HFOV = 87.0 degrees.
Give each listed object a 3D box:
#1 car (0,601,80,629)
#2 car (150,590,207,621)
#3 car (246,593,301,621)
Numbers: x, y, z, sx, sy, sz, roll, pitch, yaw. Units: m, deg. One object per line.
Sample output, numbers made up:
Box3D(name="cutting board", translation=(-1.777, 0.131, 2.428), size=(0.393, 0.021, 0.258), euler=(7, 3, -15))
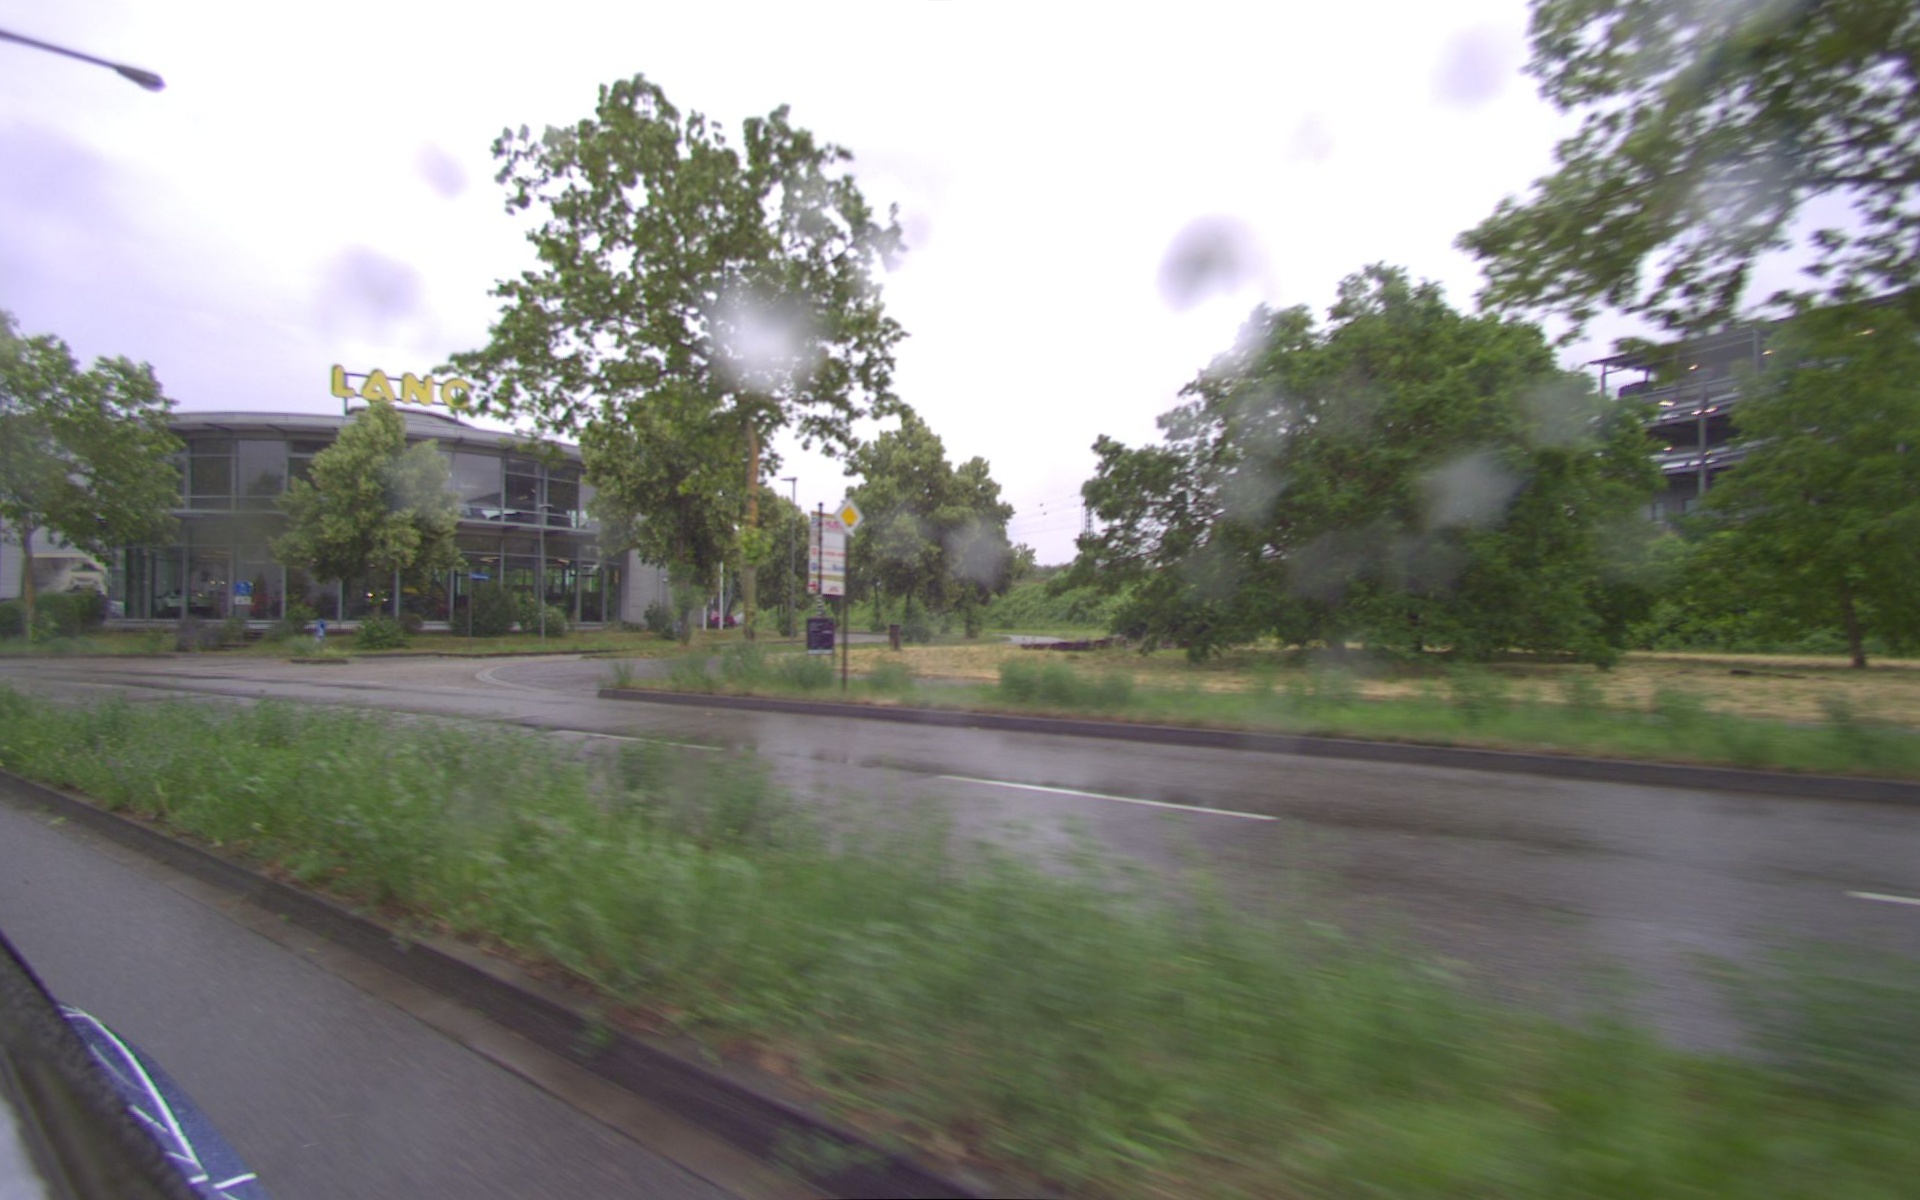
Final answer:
Box3D(name="car", translation=(-51.777, 0.800, 55.973), size=(1.914, 1.485, 4.387), euler=(0, 0, 33))
Box3D(name="car", translation=(-39.179, 0.290, 50.684), size=(4.114, 1.487, 1.758), euler=(-1, -1, 45))
Box3D(name="car", translation=(-37.286, 0.393, 54.939), size=(4.114, 1.487, 1.758), euler=(-1, -1, 45))
